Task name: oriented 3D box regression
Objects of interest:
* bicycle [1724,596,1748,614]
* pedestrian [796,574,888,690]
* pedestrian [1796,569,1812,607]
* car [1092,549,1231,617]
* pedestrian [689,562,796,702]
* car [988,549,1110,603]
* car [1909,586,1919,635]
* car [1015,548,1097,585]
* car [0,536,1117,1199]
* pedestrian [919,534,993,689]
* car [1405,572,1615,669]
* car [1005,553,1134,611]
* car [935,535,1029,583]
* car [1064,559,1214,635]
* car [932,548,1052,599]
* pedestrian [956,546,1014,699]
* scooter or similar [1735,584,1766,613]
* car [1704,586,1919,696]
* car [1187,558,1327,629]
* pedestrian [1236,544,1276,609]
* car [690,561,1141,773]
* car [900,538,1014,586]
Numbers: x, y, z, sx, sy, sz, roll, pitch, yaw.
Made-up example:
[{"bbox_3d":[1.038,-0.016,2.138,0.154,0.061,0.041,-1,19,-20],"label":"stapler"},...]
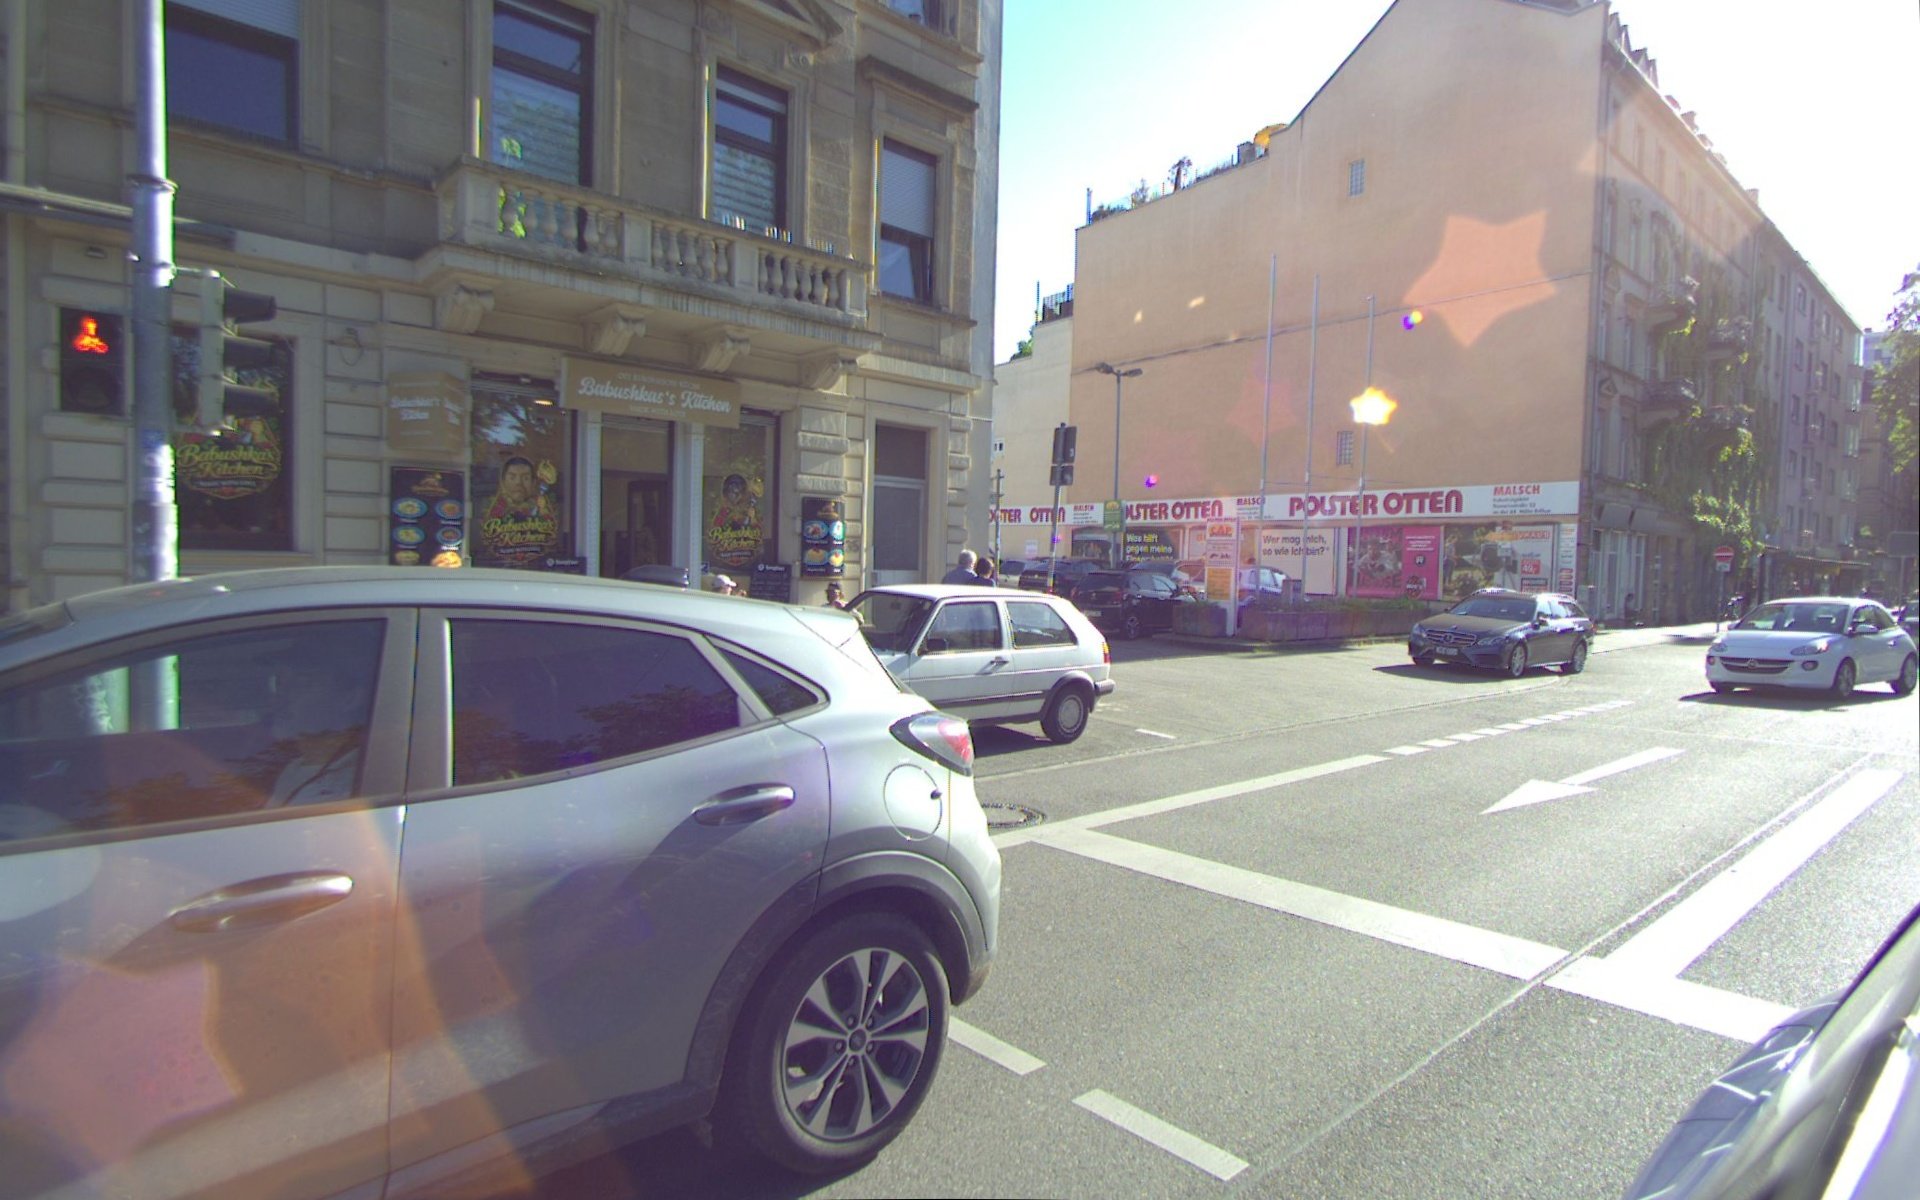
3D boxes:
[{"bbox_3d":[32.406,0.191,42.270,1.486,0.714,0.469,0,2,-41],"label":"bicycle"},{"bbox_3d":[-1.417,0.354,12.105,0.901,1.297,0.645,4,3,45],"label":"pedestrian"},{"bbox_3d":[40.918,-0.587,49.084,0.507,1.855,0.469,0,2,-40],"label":"pedestrian"},{"bbox_3d":[5.520,-0.482,27.490,3.933,1.714,1.747,-1,3,-43],"label":"car"},{"bbox_3d":[-2.395,0.319,11.119,0.645,1.388,1.015,0,6,-45],"label":"pedestrian"},{"bbox_3d":[2.807,-0.756,31.573,3.870,1.563,1.544,-1,3,-42],"label":"car"},{"bbox_3d":[31.566,0.304,32.239,3.932,1.536,1.642,-1,0,-43],"label":"car"},{"bbox_3d":[4.533,-1.589,47.718,3.576,1.690,1.682,-2,3,-35],"label":"car"},{"bbox_3d":[-1.699,0.658,2.299,4.304,1.547,1.700,-1,2,-41],"label":"car"},{"bbox_3d":[-0.053,0.121,12.378,0.521,1.828,0.674,0,3,-40],"label":"pedestrian"},{"bbox_3d":[10.535,0.313,19.243,4.650,1.504,1.838,0,5,-40],"label":"car"},{"bbox_3d":[3.216,-0.534,29.170,3.871,1.563,1.544,-1,1,-43],"label":"car"},{"bbox_3d":[1.201,-2.173,54.137,4.786,2.441,1.713,0,2,-31],"label":"car"},{"bbox_3d":[3.959,-0.092,22.163,3.339,1.504,1.559,0,3,-44],"label":"car"},{"bbox_3d":[1.084,-0.871,32.992,3.870,1.563,1.544,-1,3,-42],"label":"car"},{"bbox_3d":[0.292,0.243,11.815,0.381,1.729,0.551,0,2,-37],"label":"pedestrian"},{"bbox_3d":[34.265,-0.061,43.869,0.631,1.188,1.720,2,2,25],"label":"scooter or similar"},{"bbox_3d":[13.391,0.548,15.640,3.705,1.472,1.611,-1,1,-28],"label":"car"},{"bbox_3d":[7.665,-0.208,25.952,3.935,1.665,1.746,-1,3,-44],"label":"car"},{"bbox_3d":[9.481,-0.761,32.408,0.907,2.038,0.818,0,2,-40],"label":"pedestrian"},{"bbox_3d":[-0.261,0.456,9.221,3.933,1.432,1.567,0,6,-41],"label":"car"},{"bbox_3d":[-0.077,-1.339,35.762,3.870,1.600,1.659,-1,3,-42],"label":"car"}]
